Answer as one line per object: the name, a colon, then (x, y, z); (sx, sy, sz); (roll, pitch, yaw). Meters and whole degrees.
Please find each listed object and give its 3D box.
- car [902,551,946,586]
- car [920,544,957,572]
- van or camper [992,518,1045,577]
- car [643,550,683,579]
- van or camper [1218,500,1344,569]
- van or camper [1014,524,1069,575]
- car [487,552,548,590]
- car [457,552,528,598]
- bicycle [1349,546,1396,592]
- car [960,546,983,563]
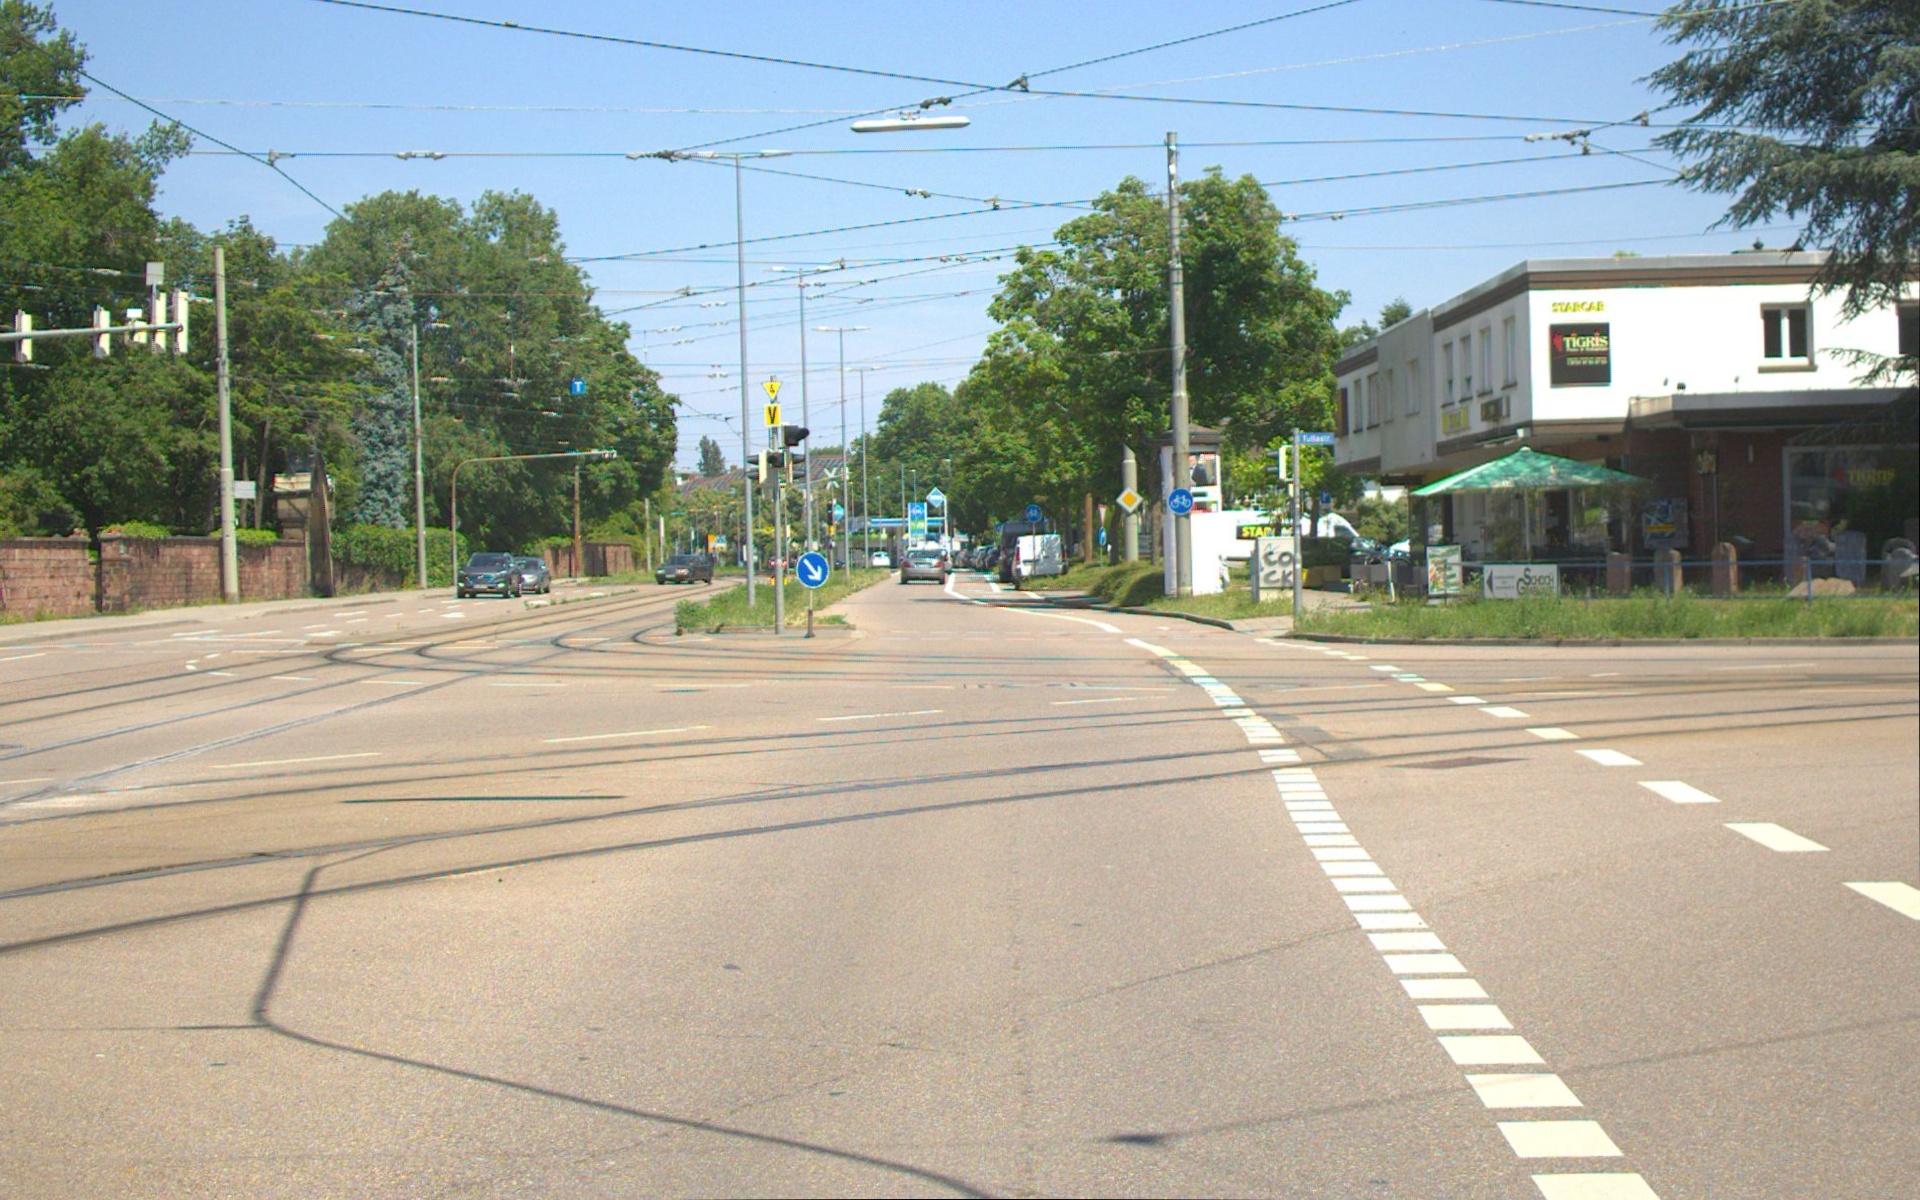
car: (-1.480, -1.289, 139.066); (1.636, 1.346, 3.842); (-1, 1, -2)
car: (-1.138, -2.242, 182.925); (1.670, 1.430, 3.475); (-1, 1, -5)
van or camper: (2.495, -2.252, 147.240); (1.993, 2.456, 4.001); (-1, 1, -2)
car: (-14.412, -1.733, 166.893); (1.641, 1.395, 4.116); (-1, 1, -1)
van or camper: (12.824, -2.632, 137.586); (4.756, 2.662, 2.136); (-1, 1, -1)
van or camper: (2.944, -1.839, 124.744); (1.922, 1.766, 4.000); (-1, 1, 1)
car: (-17.151, -1.138, 133.360); (1.641, 1.416, 4.167); (-1, 1, 2)
car: (-16.758, -0.918, 123.449); (1.820, 1.598, 4.520); (-1, 1, 1)
bicycle: (9.489, -0.718, 79.044); (1.034, 1.011, 2.636); (-1, 1, 7)
car: (0.878, -3.433, 259.847); (1.523, 1.292, 3.493); (-1, 1, -2)
